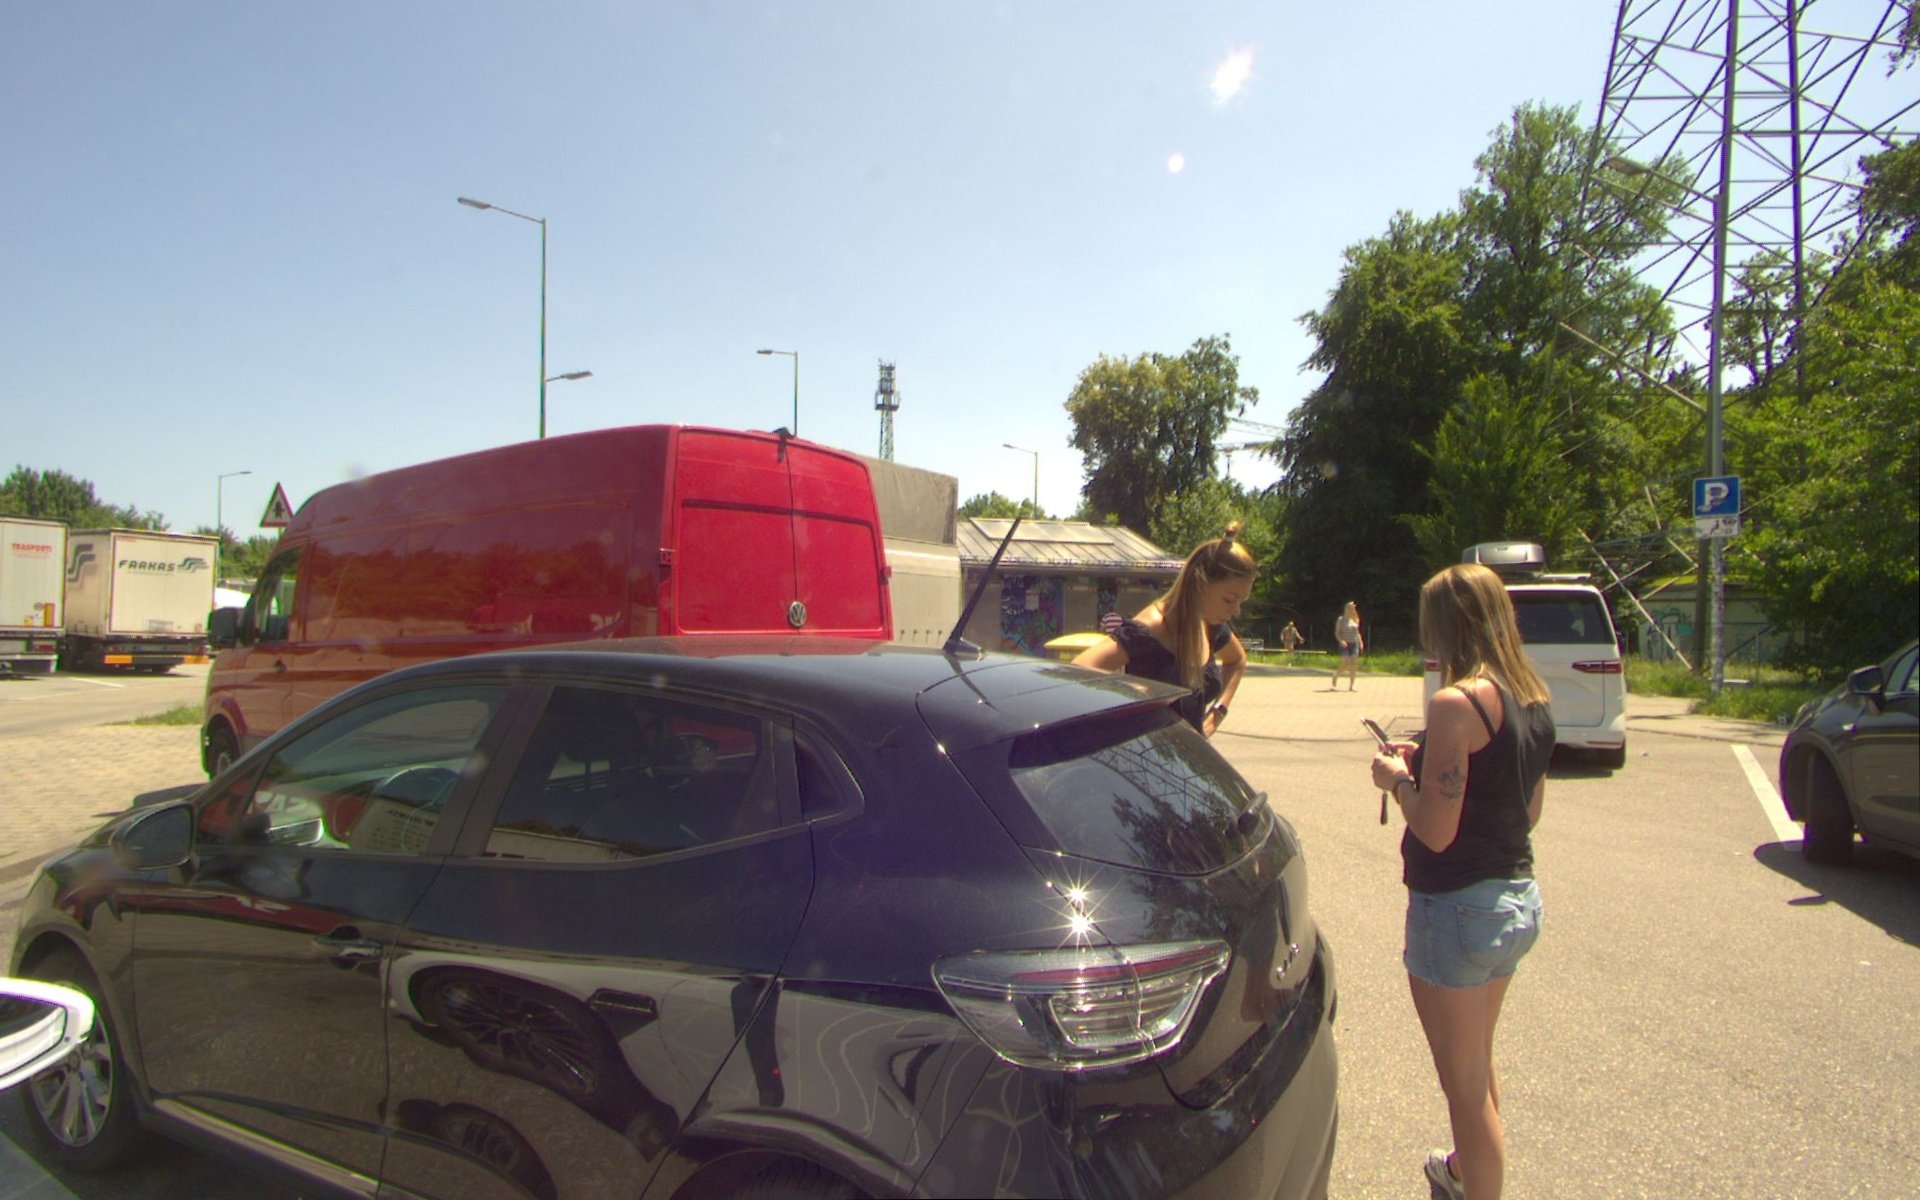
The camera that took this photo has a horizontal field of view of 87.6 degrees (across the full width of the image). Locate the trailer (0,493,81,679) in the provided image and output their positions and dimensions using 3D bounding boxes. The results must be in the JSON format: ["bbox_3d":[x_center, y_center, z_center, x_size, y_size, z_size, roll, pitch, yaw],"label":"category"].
[{"bbox_3d":[-28.646,-0.345,27.895,12.642,4.511,2.677,0,-1,32],"label":"trailer"}]

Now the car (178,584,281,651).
[{"bbox_3d":[-29.931,0.747,41.022,3.943,2.632,2.111,-1,-2,32],"label":"car"}]

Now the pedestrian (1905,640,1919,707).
[{"bbox_3d":[17.120,1.281,17.442,0.694,1.178,0.787,-1,-1,22],"label":"pedestrian"}]

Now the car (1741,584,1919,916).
[{"bbox_3d":[5.579,0.743,4.583,1.805,1.638,4.162,1,-1,18],"label":"car"}]

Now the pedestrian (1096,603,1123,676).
[{"bbox_3d":[3.703,0.976,24.789,0.520,1.783,0.651,0,0,23],"label":"pedestrian"}]

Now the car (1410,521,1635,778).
[{"bbox_3d":[6.674,0.524,11.999,1.901,2.401,4.954,1,-1,29],"label":"car"}]

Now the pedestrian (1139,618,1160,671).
[{"bbox_3d":[4.915,1.149,25.913,0.439,1.362,0.477,0,0,23],"label":"pedestrian"}]

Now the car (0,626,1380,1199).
[{"bbox_3d":[-0.838,0.830,2.808,3.627,1.476,1.776,-1,-2,26],"label":"car"}]

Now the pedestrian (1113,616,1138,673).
[{"bbox_3d":[4.334,1.148,26.212,0.521,1.478,0.576,0,0,23],"label":"pedestrian"}]

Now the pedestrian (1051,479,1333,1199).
[{"bbox_3d":[0.742,0.643,3.080,0.481,1.884,0.906,0,0,39],"label":"pedestrian"}]

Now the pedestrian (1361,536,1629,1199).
[{"bbox_3d":[1.206,0.690,2.285,0.478,1.615,0.501,0,0,29],"label":"pedestrian"}]

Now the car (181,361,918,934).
[{"bbox_3d":[-3.391,0.247,7.336,6.298,2.668,1.988,0,-1,36],"label":"car"}]

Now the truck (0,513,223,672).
[{"bbox_3d":[-27.132,-0.029,31.220,11.800,4.279,2.582,-1,-2,32],"label":"truck"}]

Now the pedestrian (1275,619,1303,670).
[{"bbox_3d":[13.435,1.825,40.899,0.955,2.039,0.829,0,-1,10],"label":"pedestrian"}]

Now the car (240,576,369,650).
[{"bbox_3d":[-29.461,0.592,44.939,6.259,3.115,2.495,0,-1,32],"label":"car"}]

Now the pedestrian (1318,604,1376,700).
[{"bbox_3d":[7.874,1.050,20.417,0.762,1.903,0.840,0,-1,-11],"label":"pedestrian"}]

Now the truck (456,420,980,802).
[{"bbox_3d":[-2.459,0.167,9.898,4.751,2.863,2.514,-1,-2,34],"label":"truck"}]
